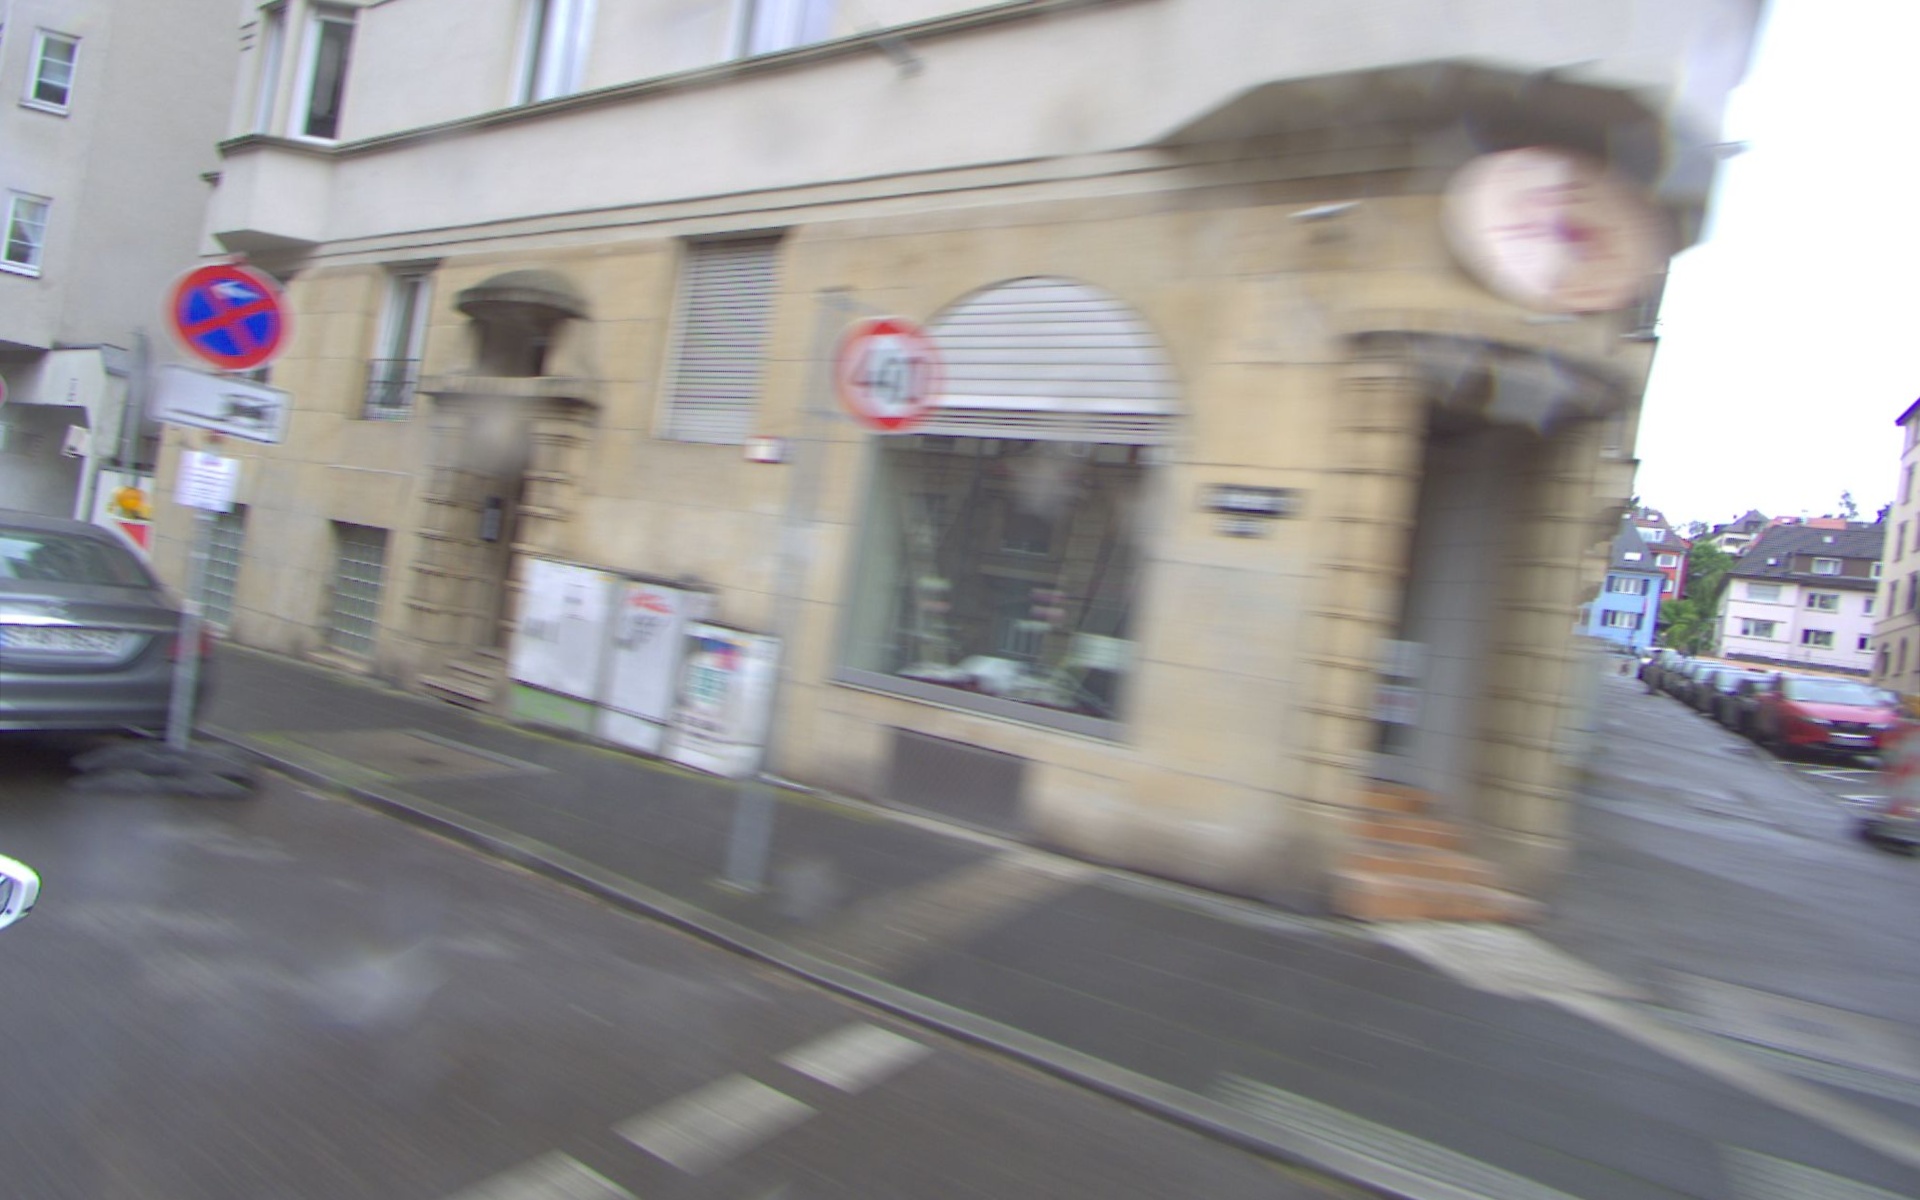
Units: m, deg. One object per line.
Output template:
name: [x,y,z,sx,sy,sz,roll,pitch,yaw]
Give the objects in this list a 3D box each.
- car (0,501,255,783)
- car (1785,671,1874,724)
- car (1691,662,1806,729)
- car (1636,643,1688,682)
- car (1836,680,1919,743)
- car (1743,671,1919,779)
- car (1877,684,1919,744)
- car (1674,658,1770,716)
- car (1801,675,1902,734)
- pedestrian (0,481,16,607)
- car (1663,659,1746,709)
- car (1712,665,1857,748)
car: [-6.701,0.039,6.588,4.740,1.426,1.713,6,-2,34]
car: [37.614,4.172,43.654,1.968,1.672,4.345,14,5,31]
car: [22.775,2.696,29.239,1.946,1.588,4.361,4,0,30]
car: [40.301,3.573,57.854,1.946,2.022,4.361,4,0,30]
car: [33.085,3.963,35.741,1.968,1.672,4.345,14,5,31]
car: [17.594,2.417,20.456,1.946,1.589,4.359,4,1,30]
car: [30.500,3.725,31.213,1.968,1.672,4.345,14,5,31]
car: [25.419,2.852,33.701,1.946,1.588,4.361,4,0,30]
car: [35.204,4.082,39.851,1.968,1.672,4.345,14,5,31]
pedestrian: [-13.541,-0.819,13.617,0.742,1.707,0.806,6,-1,31]
car: [28.052,3.121,38.048,2.004,1.588,4.461,4,0,31]
car: [19.905,2.492,24.495,1.946,1.588,4.361,4,0,30]
